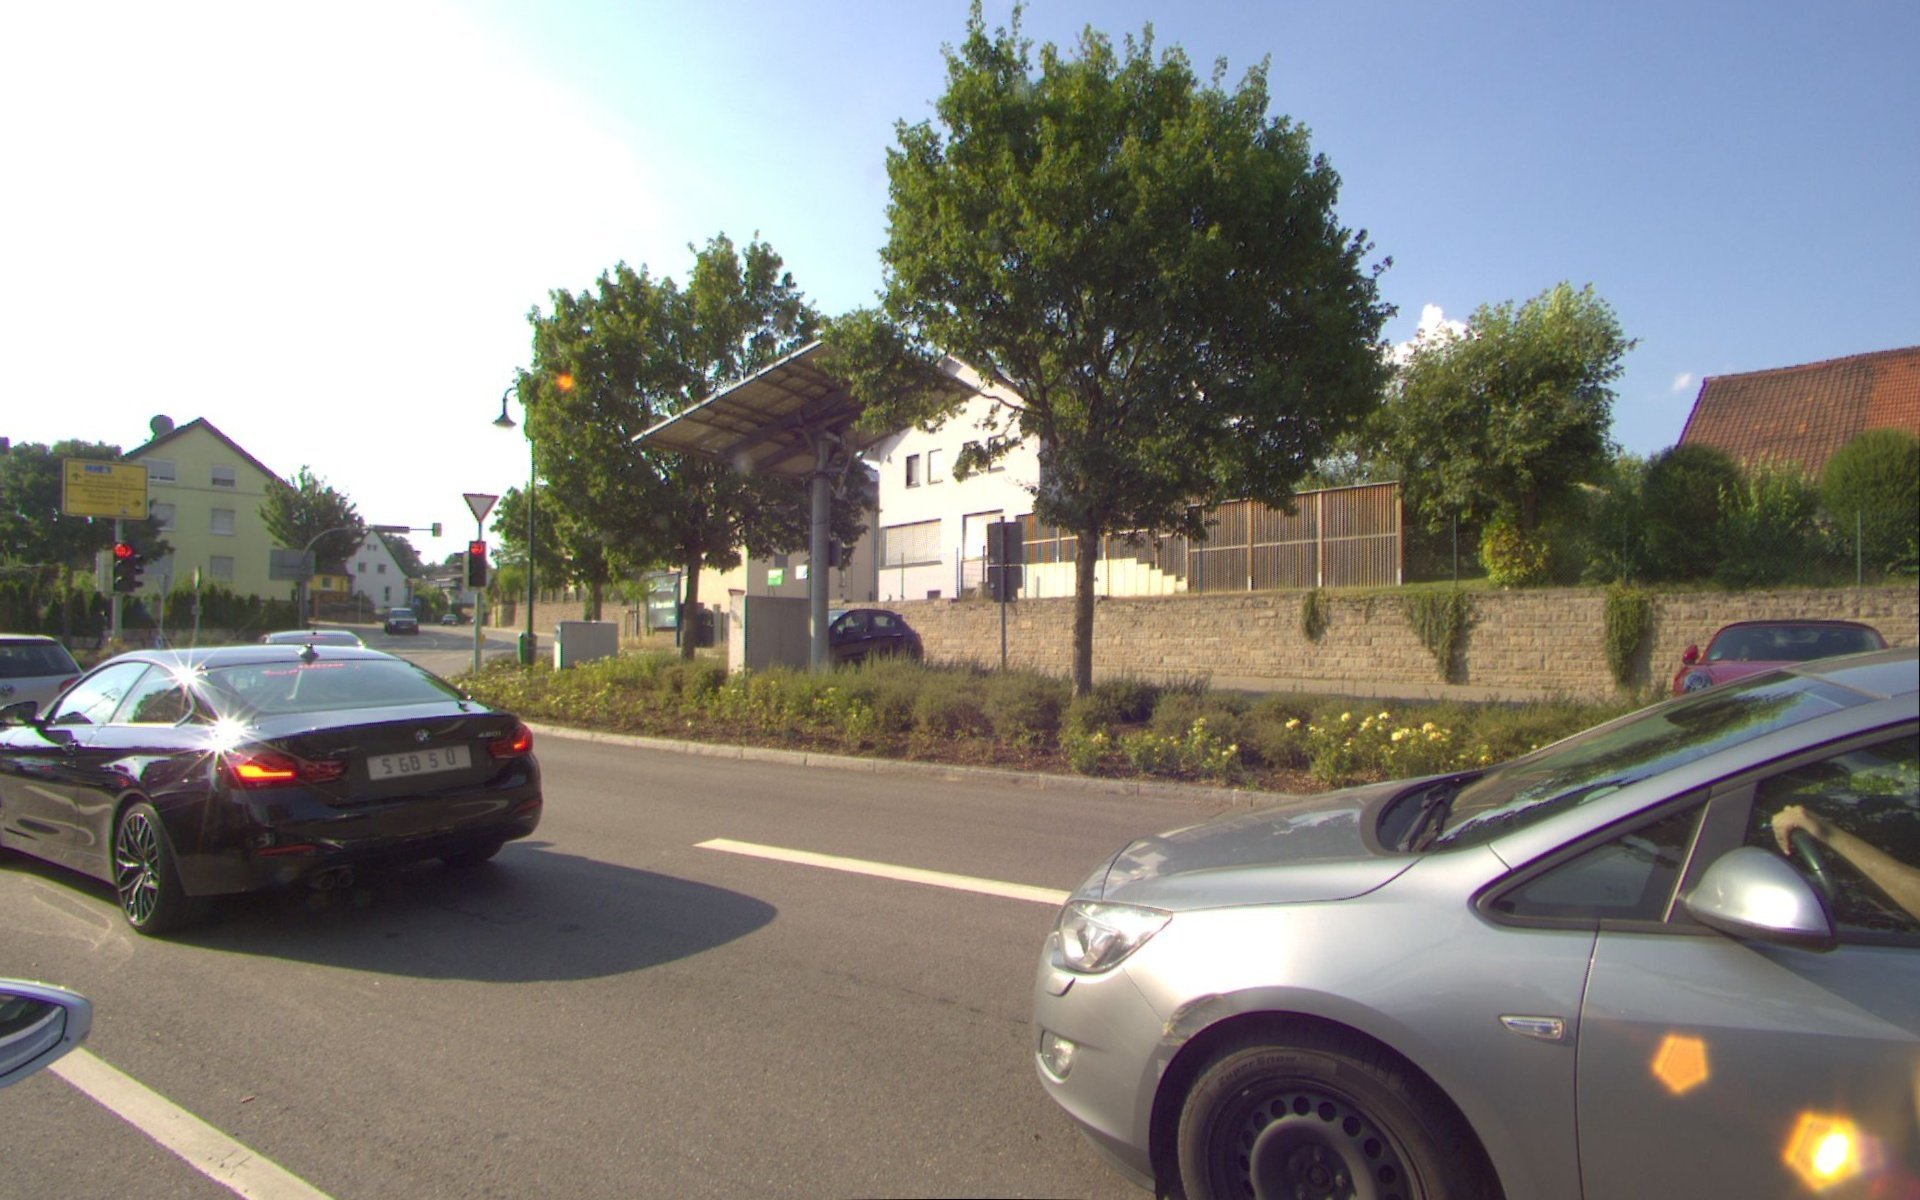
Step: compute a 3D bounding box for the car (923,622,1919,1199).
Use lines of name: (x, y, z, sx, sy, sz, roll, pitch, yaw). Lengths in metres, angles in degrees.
car: (2.097, 0.785, 2.211, 4.107, 1.460, 1.741, -1, -2, 32)

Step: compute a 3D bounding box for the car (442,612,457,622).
car: (-66.425, 2.175, 130.313, 1.691, 1.260, 3.981, 1, -1, -28)

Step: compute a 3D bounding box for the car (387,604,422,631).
car: (-35.586, 1.109, 64.113, 1.767, 1.527, 4.043, 1, 2, -32)

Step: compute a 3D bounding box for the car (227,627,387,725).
car: (-11.275, 1.193, 17.146, 1.669, 1.454, 4.549, 1, -2, -41)

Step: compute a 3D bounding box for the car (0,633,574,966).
car: (-4.507, 0.913, 6.240, 4.287, 1.406, 1.812, -1, -2, 34)

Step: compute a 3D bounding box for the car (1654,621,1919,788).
car: (8.226, 0.875, 9.698, 1.835, 1.288, 3.964, -1, -2, 45)

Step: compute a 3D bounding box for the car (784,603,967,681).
car: (-1.876, 0.949, 22.984, 1.835, 1.628, 3.964, -1, -2, 45)

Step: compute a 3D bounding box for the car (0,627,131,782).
car: (-10.807, 1.020, 10.746, 4.287, 1.465, 1.812, -1, -2, 34)
